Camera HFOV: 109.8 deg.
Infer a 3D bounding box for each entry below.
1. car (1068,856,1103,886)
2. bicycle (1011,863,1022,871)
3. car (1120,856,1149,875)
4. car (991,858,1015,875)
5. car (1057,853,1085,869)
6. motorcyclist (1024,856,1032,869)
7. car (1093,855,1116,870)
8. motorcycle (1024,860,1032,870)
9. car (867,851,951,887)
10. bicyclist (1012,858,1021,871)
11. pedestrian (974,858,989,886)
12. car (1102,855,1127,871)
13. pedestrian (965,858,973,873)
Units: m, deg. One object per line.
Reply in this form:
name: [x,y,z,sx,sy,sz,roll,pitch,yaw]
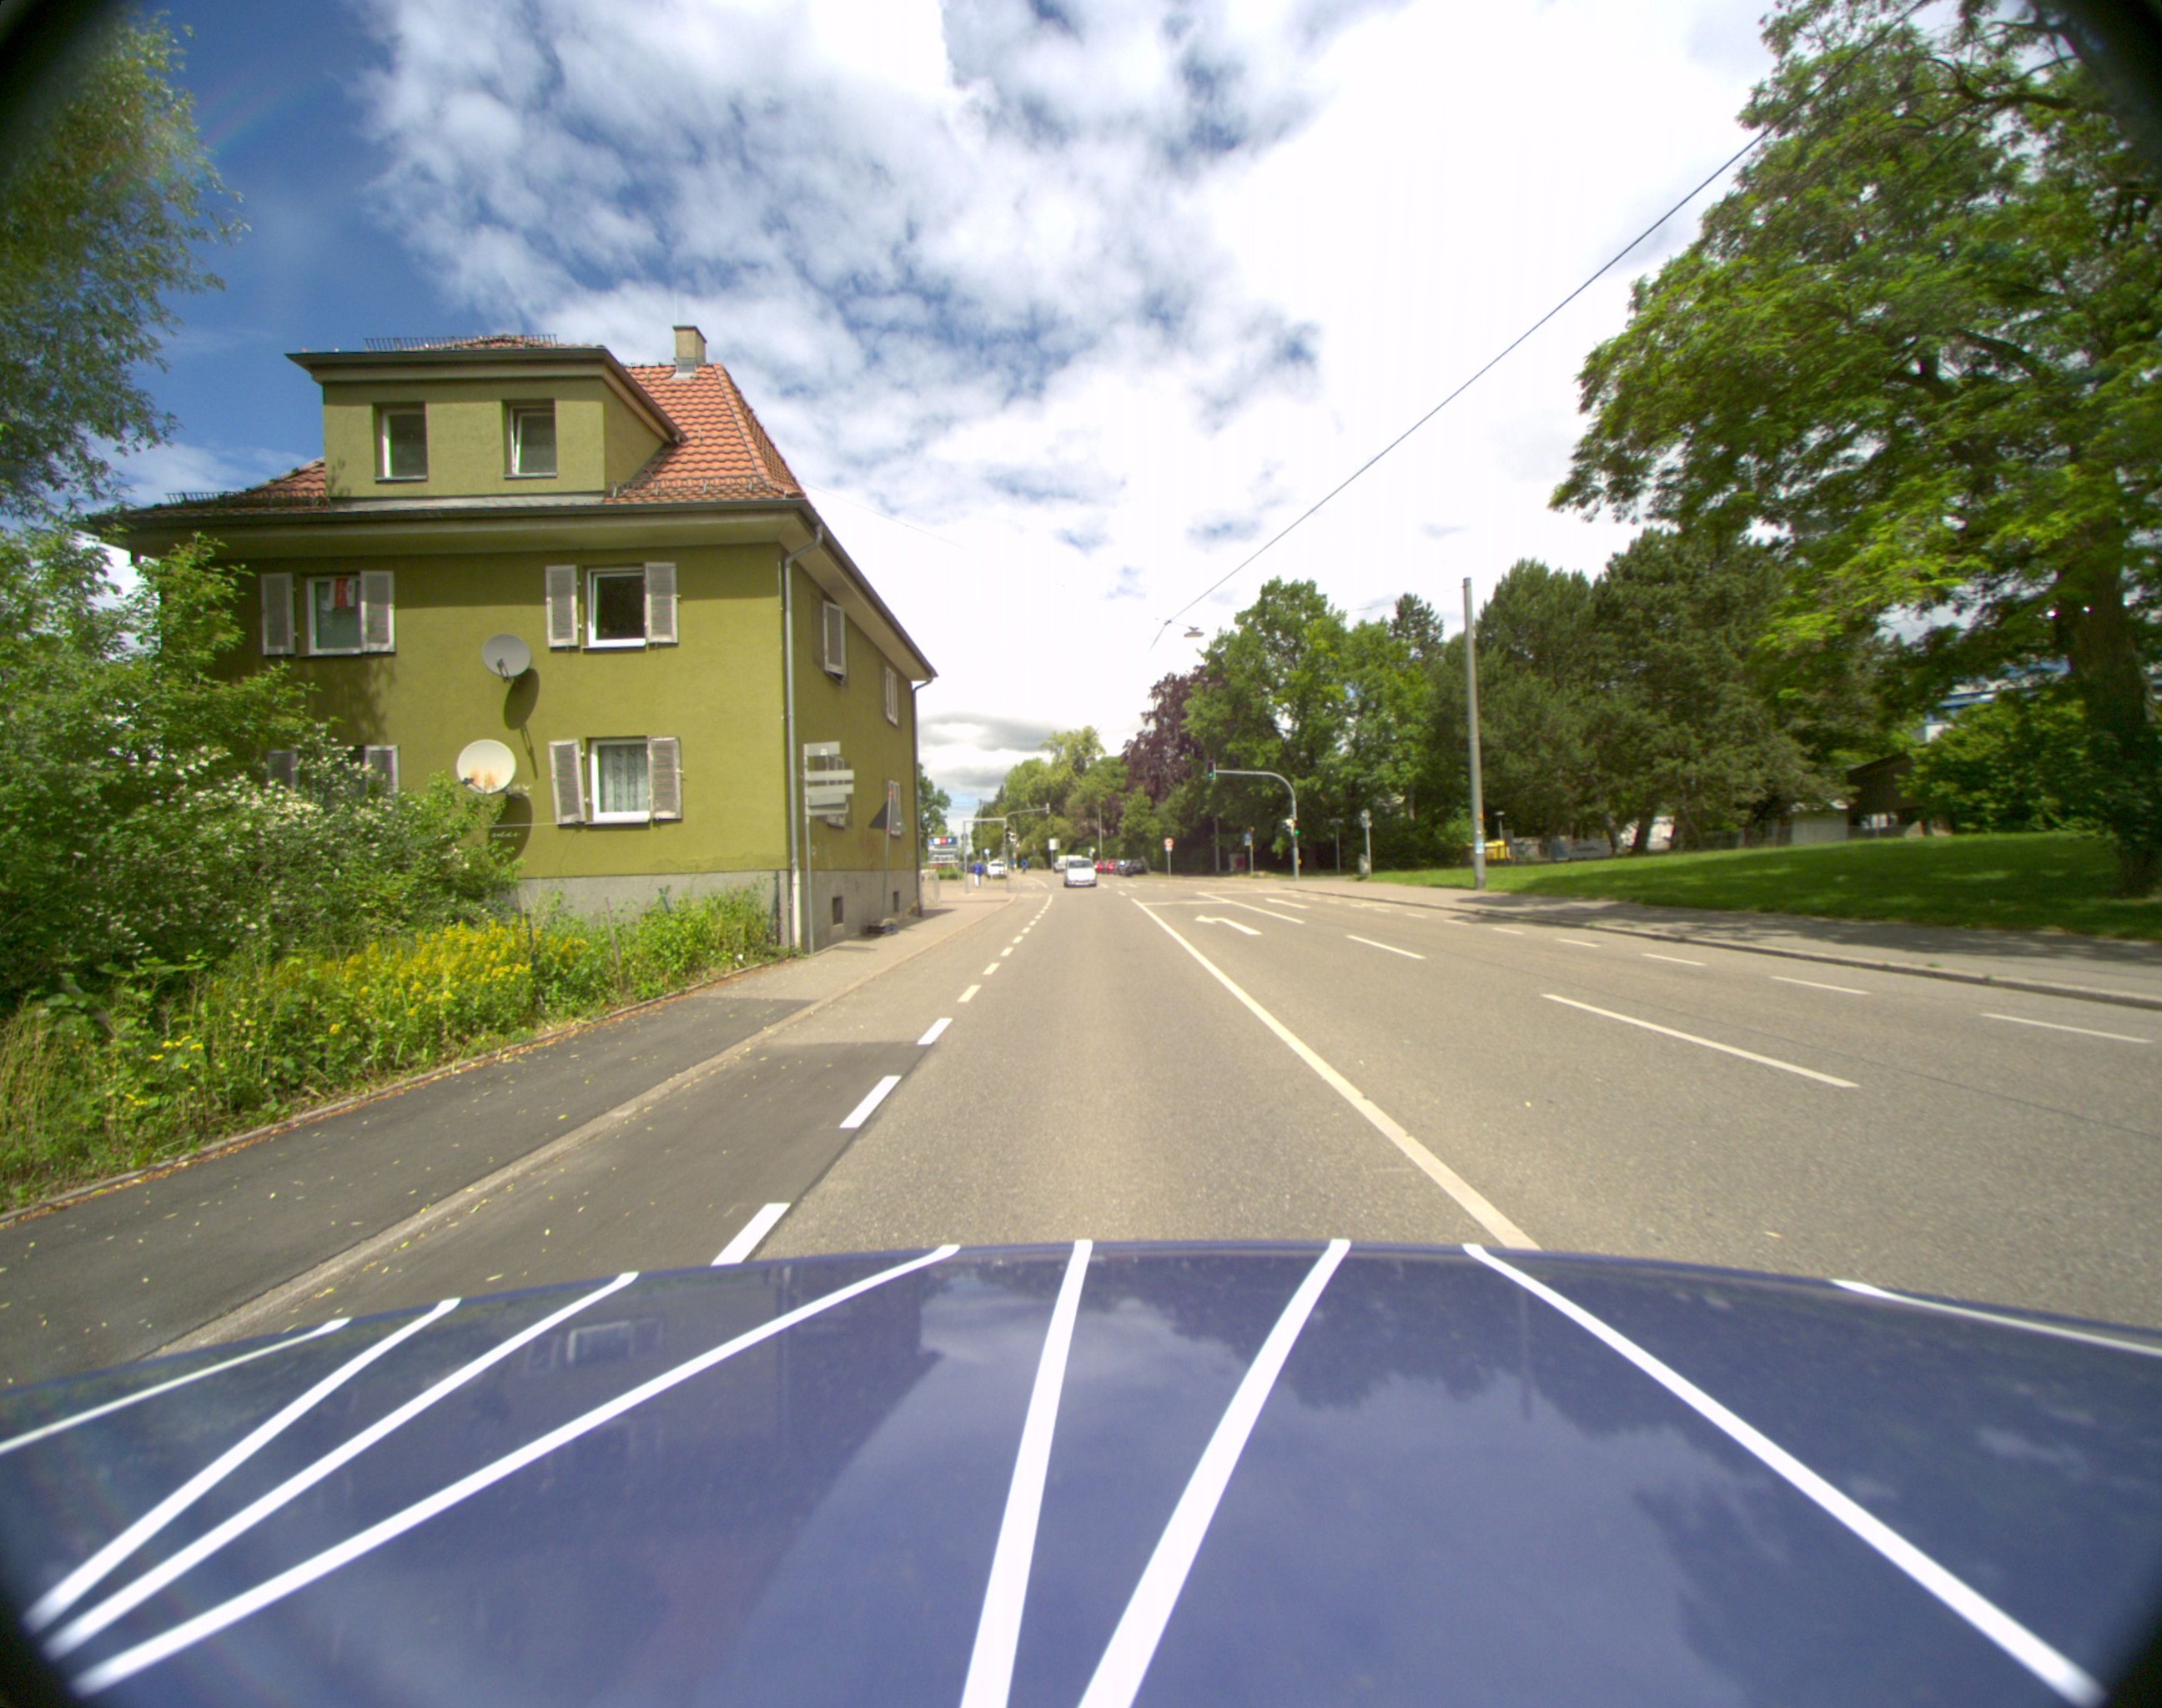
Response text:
car: [0.223,0.942,42.050,1.781,1.519,4.000,-2,-1,0]
bicycle: [-8.703,1.759,102.383,0.815,1.101,1.796,-4,0,-30]
car: [4.708,0.987,67.521,1.900,1.501,3.997,0,1,-7]
car: [-7.055,1.114,69.088,1.799,1.501,3.999,-1,0,0]
car: [-1.135,0.751,84.206,1.801,1.787,4.495,-1,1,-18]
motorcyclist: [-6.207,1.000,88.514,0.837,1.547,0.650,0,1,-1]
car: [2.494,0.908,82.187,1.900,1.501,3.997,0,1,-7]
motorcycle: [-6.194,1.297,88.552,0.837,1.101,1.800,0,0,-1]
car: [-10.093,0.849,44.737,4.364,1.983,2.001,-1,1,9]
bicyclist: [-8.716,1.403,102.369,0.809,1.599,0.770,-4,1,-30]
pedestrian: [-5.667,1.010,43.139,0.729,1.543,1.056,-2,0,-10]
car: [3.372,0.930,77.202,1.900,1.501,3.997,0,1,-7]
pedestrian: [-12.763,1.310,86.853,0.723,1.651,0.777,-4,1,-4]
